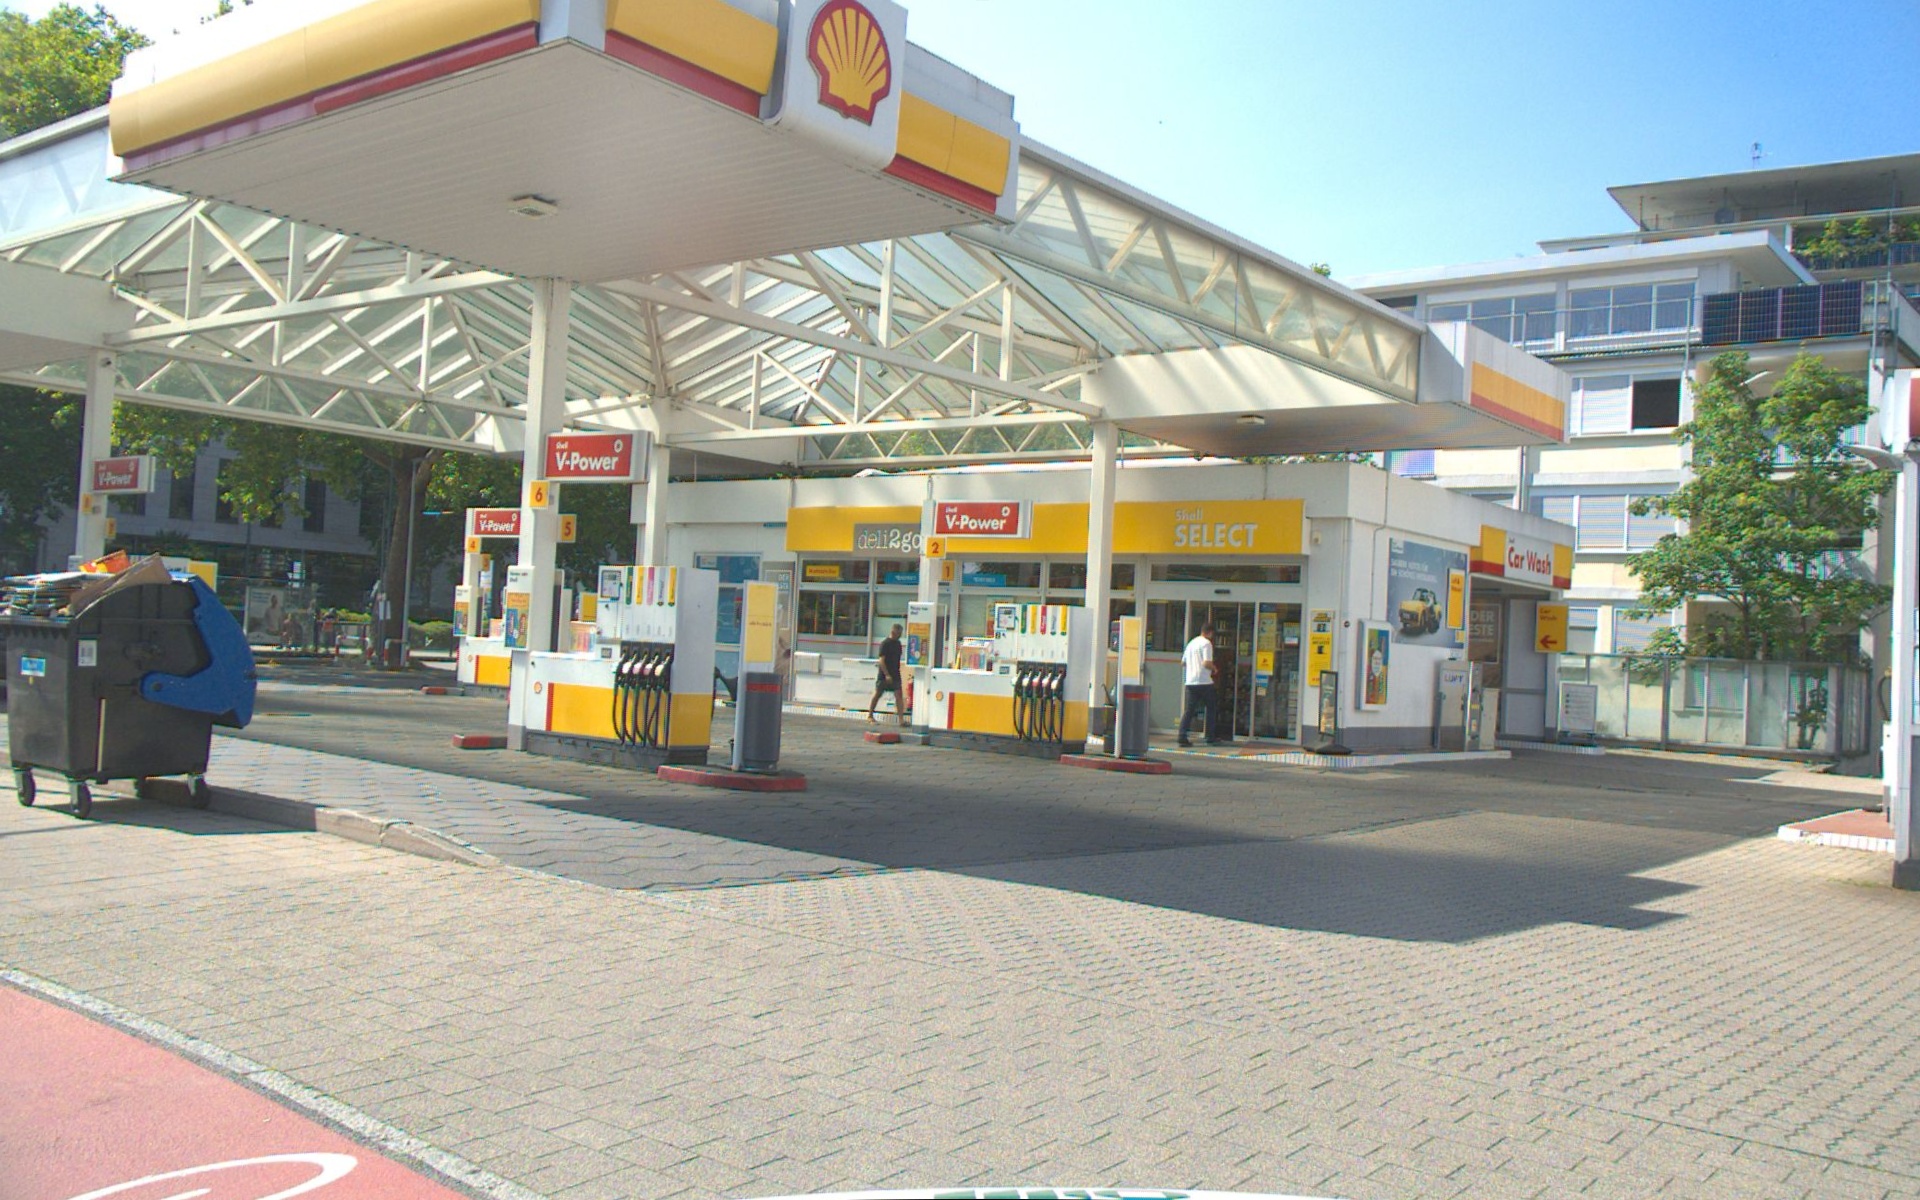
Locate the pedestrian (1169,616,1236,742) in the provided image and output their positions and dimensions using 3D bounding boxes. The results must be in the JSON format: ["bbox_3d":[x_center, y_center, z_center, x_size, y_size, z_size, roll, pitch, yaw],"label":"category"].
[{"bbox_3d":[3.741,1.214,25.435,0.837,1.870,0.745,2,-2,17],"label":"pedestrian"}]

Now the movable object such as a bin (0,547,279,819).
[{"bbox_3d":[-5.441,0.488,10.793,1.368,1.620,1.306,1,0,36],"label":"movable object such as a bin"}]

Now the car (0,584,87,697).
[{"bbox_3d":[-13.329,0.510,22.644,1.640,1.422,3.588,5,-3,-40],"label":"car"}]

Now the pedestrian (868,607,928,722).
[{"bbox_3d":[-1.020,1.060,27.214,0.670,1.854,0.620,5,-3,-45],"label":"pedestrian"}]
